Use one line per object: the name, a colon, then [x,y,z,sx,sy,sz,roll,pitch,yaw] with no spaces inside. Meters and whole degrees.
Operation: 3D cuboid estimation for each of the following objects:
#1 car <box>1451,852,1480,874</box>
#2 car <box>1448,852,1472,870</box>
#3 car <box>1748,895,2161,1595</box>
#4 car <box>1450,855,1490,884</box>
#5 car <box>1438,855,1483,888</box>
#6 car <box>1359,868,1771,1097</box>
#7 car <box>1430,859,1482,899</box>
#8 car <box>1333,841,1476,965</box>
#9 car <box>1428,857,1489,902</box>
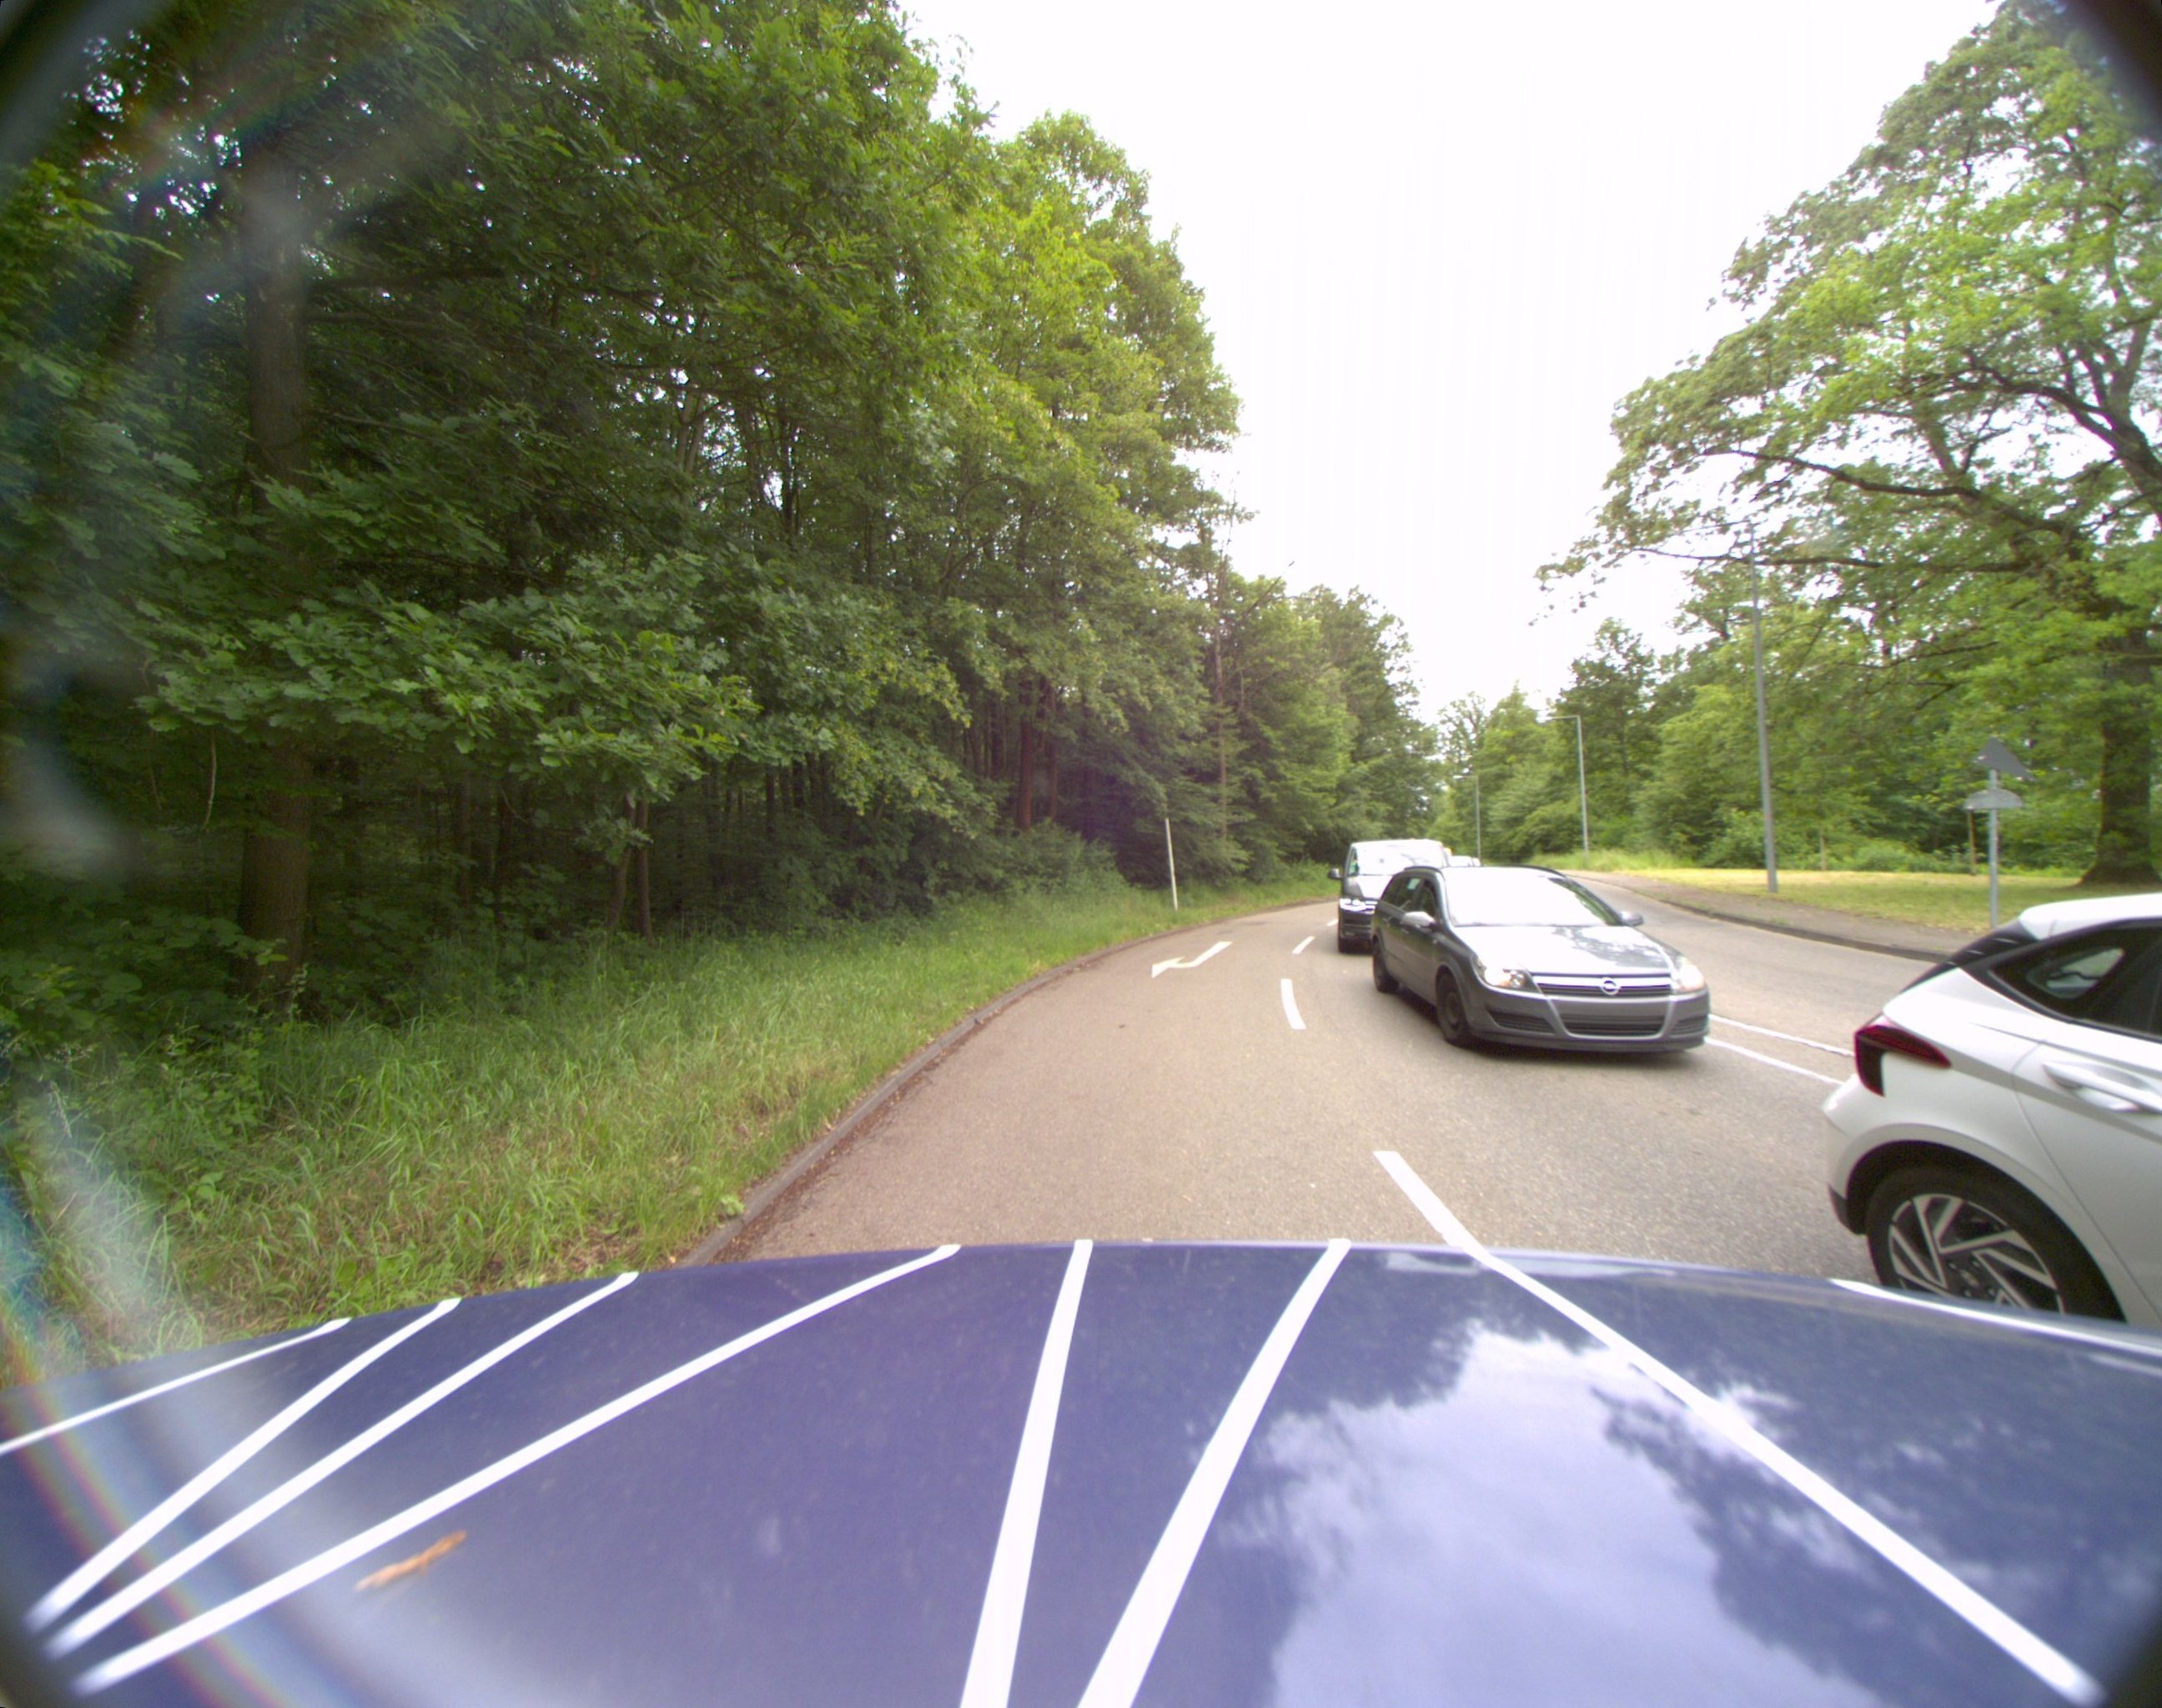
car: [27.719,0.645,54.699,1.775,1.490,3.880,-2,-1,28]
car: [34.167,0.625,68.469,1.775,1.490,3.880,-2,-1,28]
car: [3.143,0.866,0.661,1.653,1.470,4.074,-1,-1,3]
car: [20.954,0.812,41.019,1.775,1.490,3.880,-2,-1,25]
car: [18.056,0.818,36.301,1.775,1.490,3.880,-2,-1,25]
car: [4.033,0.903,7.339,1.801,1.470,4.474,-1,-1,11]
car: [15.203,0.989,30.946,1.775,1.490,3.880,-2,-1,25]
car: [5.755,0.767,13.822,1.987,1.861,4.539,-1,-1,21]
car: [13.423,0.876,27.167,1.775,1.490,3.880,-2,-1,25]
